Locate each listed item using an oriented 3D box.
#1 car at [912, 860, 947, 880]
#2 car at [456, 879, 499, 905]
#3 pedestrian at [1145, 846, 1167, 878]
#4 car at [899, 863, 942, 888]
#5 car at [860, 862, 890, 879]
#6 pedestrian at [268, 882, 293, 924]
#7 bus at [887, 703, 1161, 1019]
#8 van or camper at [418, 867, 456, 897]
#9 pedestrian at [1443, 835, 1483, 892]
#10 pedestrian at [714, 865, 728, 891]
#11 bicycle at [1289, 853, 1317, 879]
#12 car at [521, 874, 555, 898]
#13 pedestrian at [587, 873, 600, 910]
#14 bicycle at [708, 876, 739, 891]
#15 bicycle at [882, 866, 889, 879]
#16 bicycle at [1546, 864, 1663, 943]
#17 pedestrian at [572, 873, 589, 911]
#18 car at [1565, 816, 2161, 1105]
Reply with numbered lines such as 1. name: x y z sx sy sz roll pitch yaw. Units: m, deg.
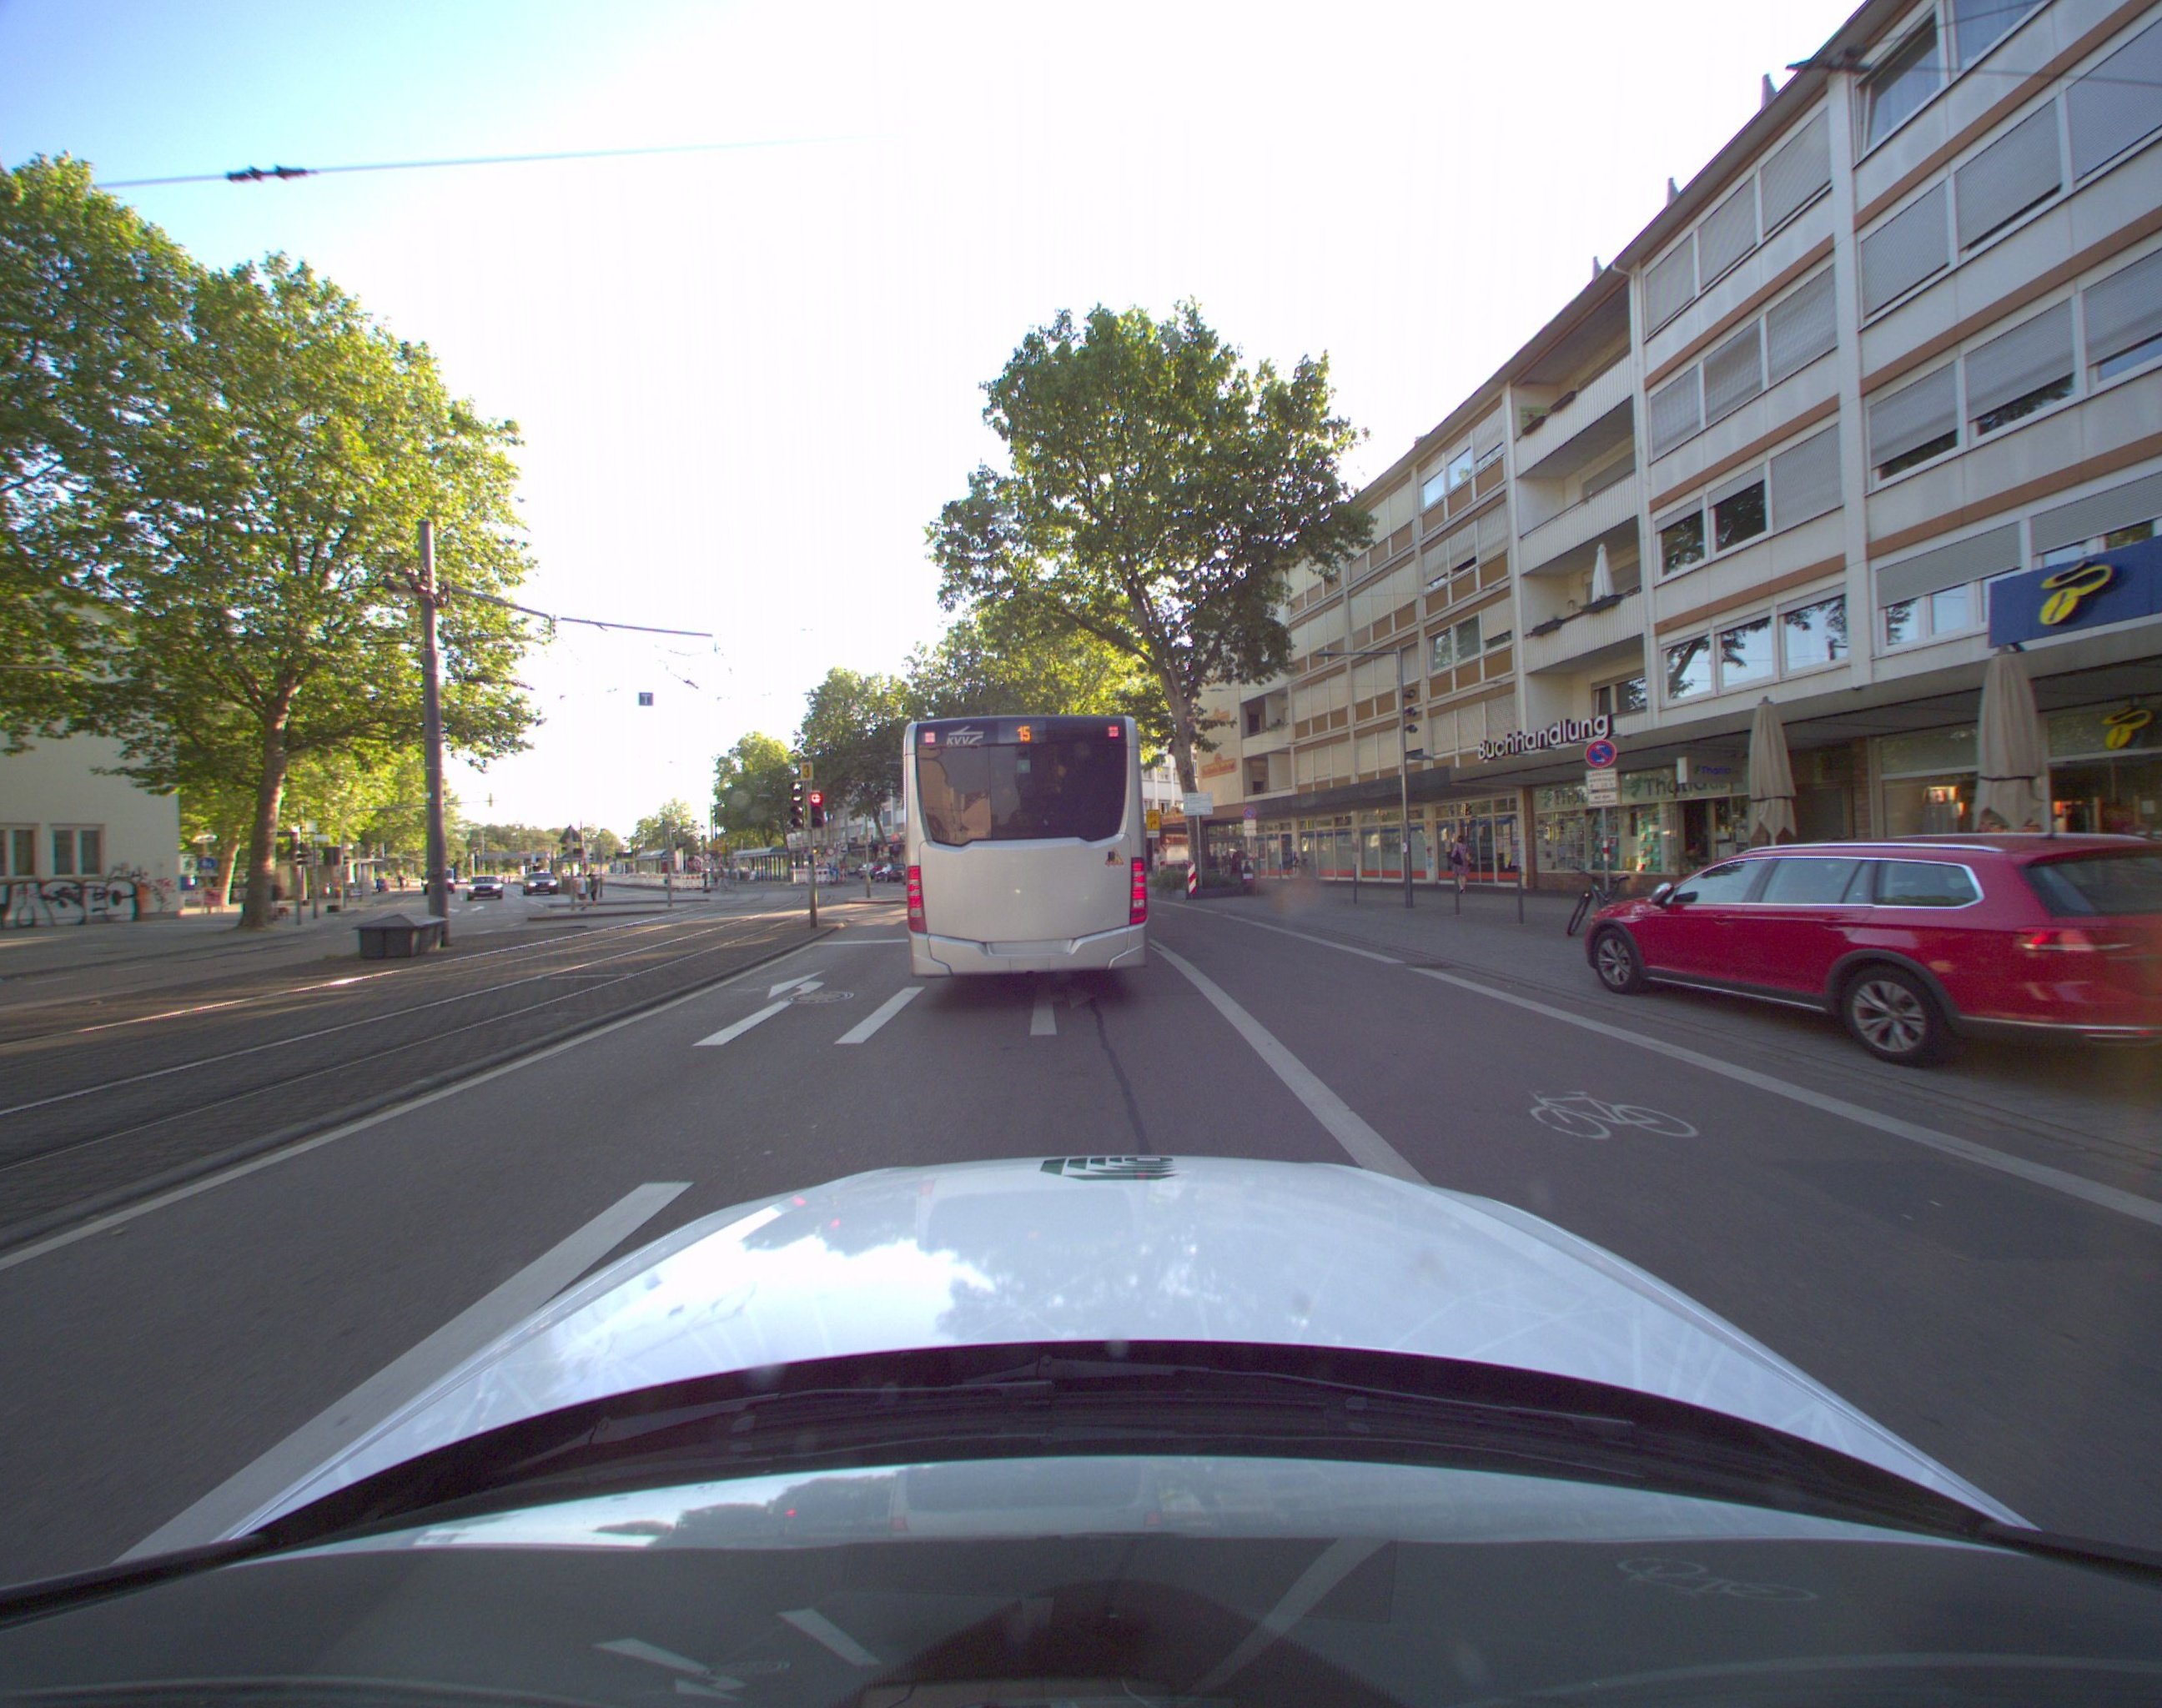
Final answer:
1. car: -12.871 1.377 69.008 1.674 1.516 3.376 -6 2 -34
2. car: -38.025 2.353 51.401 1.899 1.472 4.162 -2 0 -34
3. pedestrian: 4.145 0.424 44.928 0.838 1.712 0.788 -4 1 -21
4. car: -10.208 1.324 51.482 1.764 1.464 3.967 -2 0 -25
5. car: -20.245 1.633 80.065 1.675 1.468 3.376 -6 2 -35
6. pedestrian: -33.398 2.019 33.971 0.426 1.710 0.681 -1 -1 34
7. bus: -0.916 0.099 13.318 2.653 3.098 10.200 -2 -1 -4
8. van or camper: -55.376 2.390 70.110 2.184 2.319 5.048 -4 1 -35
9. pedestrian: 10.745 0.267 22.929 0.639 1.552 0.805 -2 0 -11
10. pedestrian: -24.338 1.617 55.071 0.726 1.725 0.394 -2 -1 -40
11. bicycle: 9.837 0.544 36.126 0.438 1.092 1.453 -4 0 -16
12. car: -39.096 2.284 58.613 1.900 1.585 4.161 -2 0 -36
13. pedestrian: -19.954 1.527 33.362 0.411 1.504 0.512 -2 -1 -31
14. bicycle: -24.379 2.012 55.598 1.856 0.942 0.458 -2 0 -39
15. bicycle: -18.474 1.707 76.884 0.508 1.211 2.080 -2 0 -18
16. bicycle: 7.876 0.708 12.346 0.510 1.070 1.658 -4 0 -6
17. pedestrian: -20.152 1.532 32.783 0.523 1.504 0.588 -2 -1 -31
18. car: 6.320 0.565 6.742 1.773 1.496 4.565 -4 0 -1
